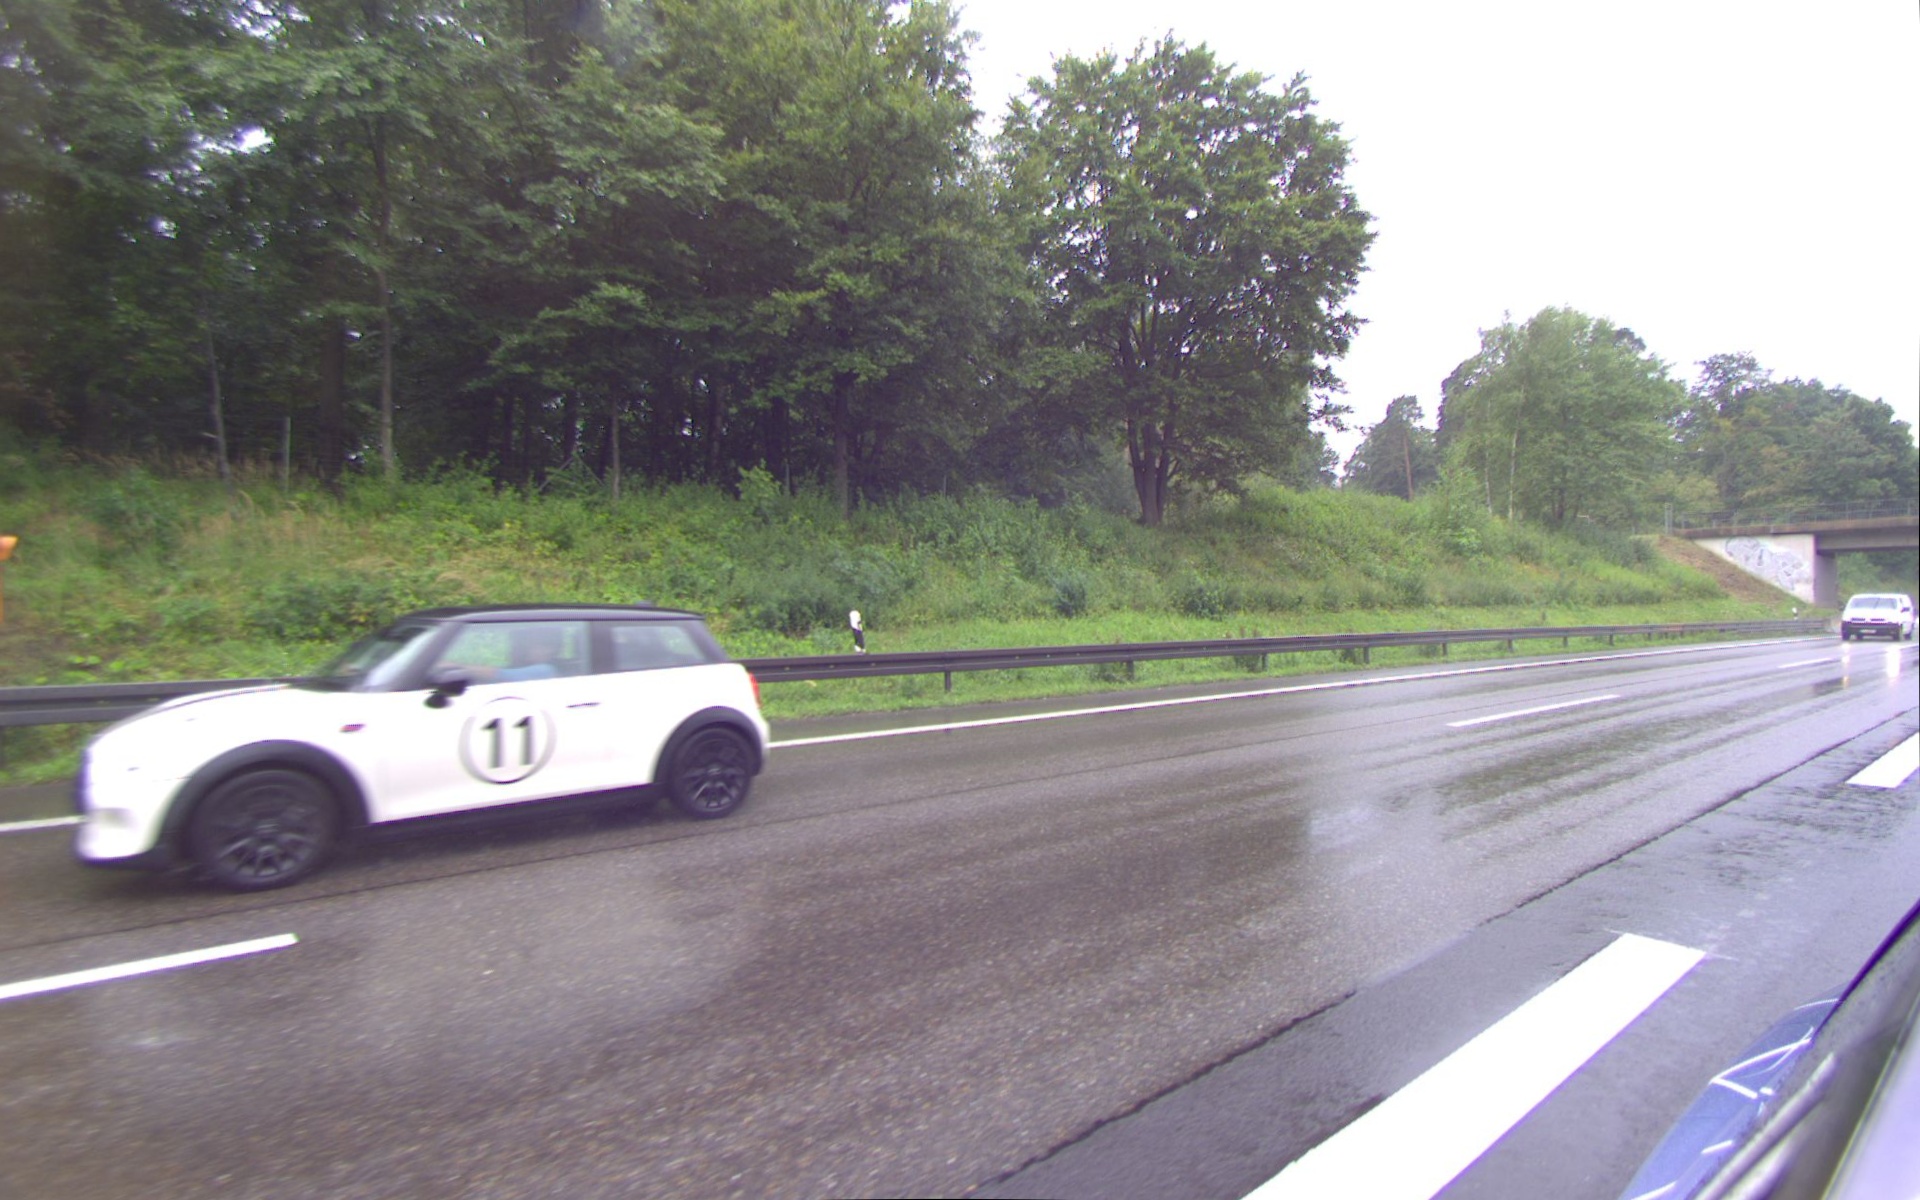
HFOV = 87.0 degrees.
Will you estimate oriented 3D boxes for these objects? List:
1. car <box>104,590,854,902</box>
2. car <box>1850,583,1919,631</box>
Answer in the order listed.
[{"bbox_3d":[-2.913,0.661,6.674,4.154,1.425,1.793,0,0,-41],"label":"car"},{"bbox_3d":[39.509,0.286,42.857,4.681,1.945,1.994,0,0,-39],"label":"car"}]
